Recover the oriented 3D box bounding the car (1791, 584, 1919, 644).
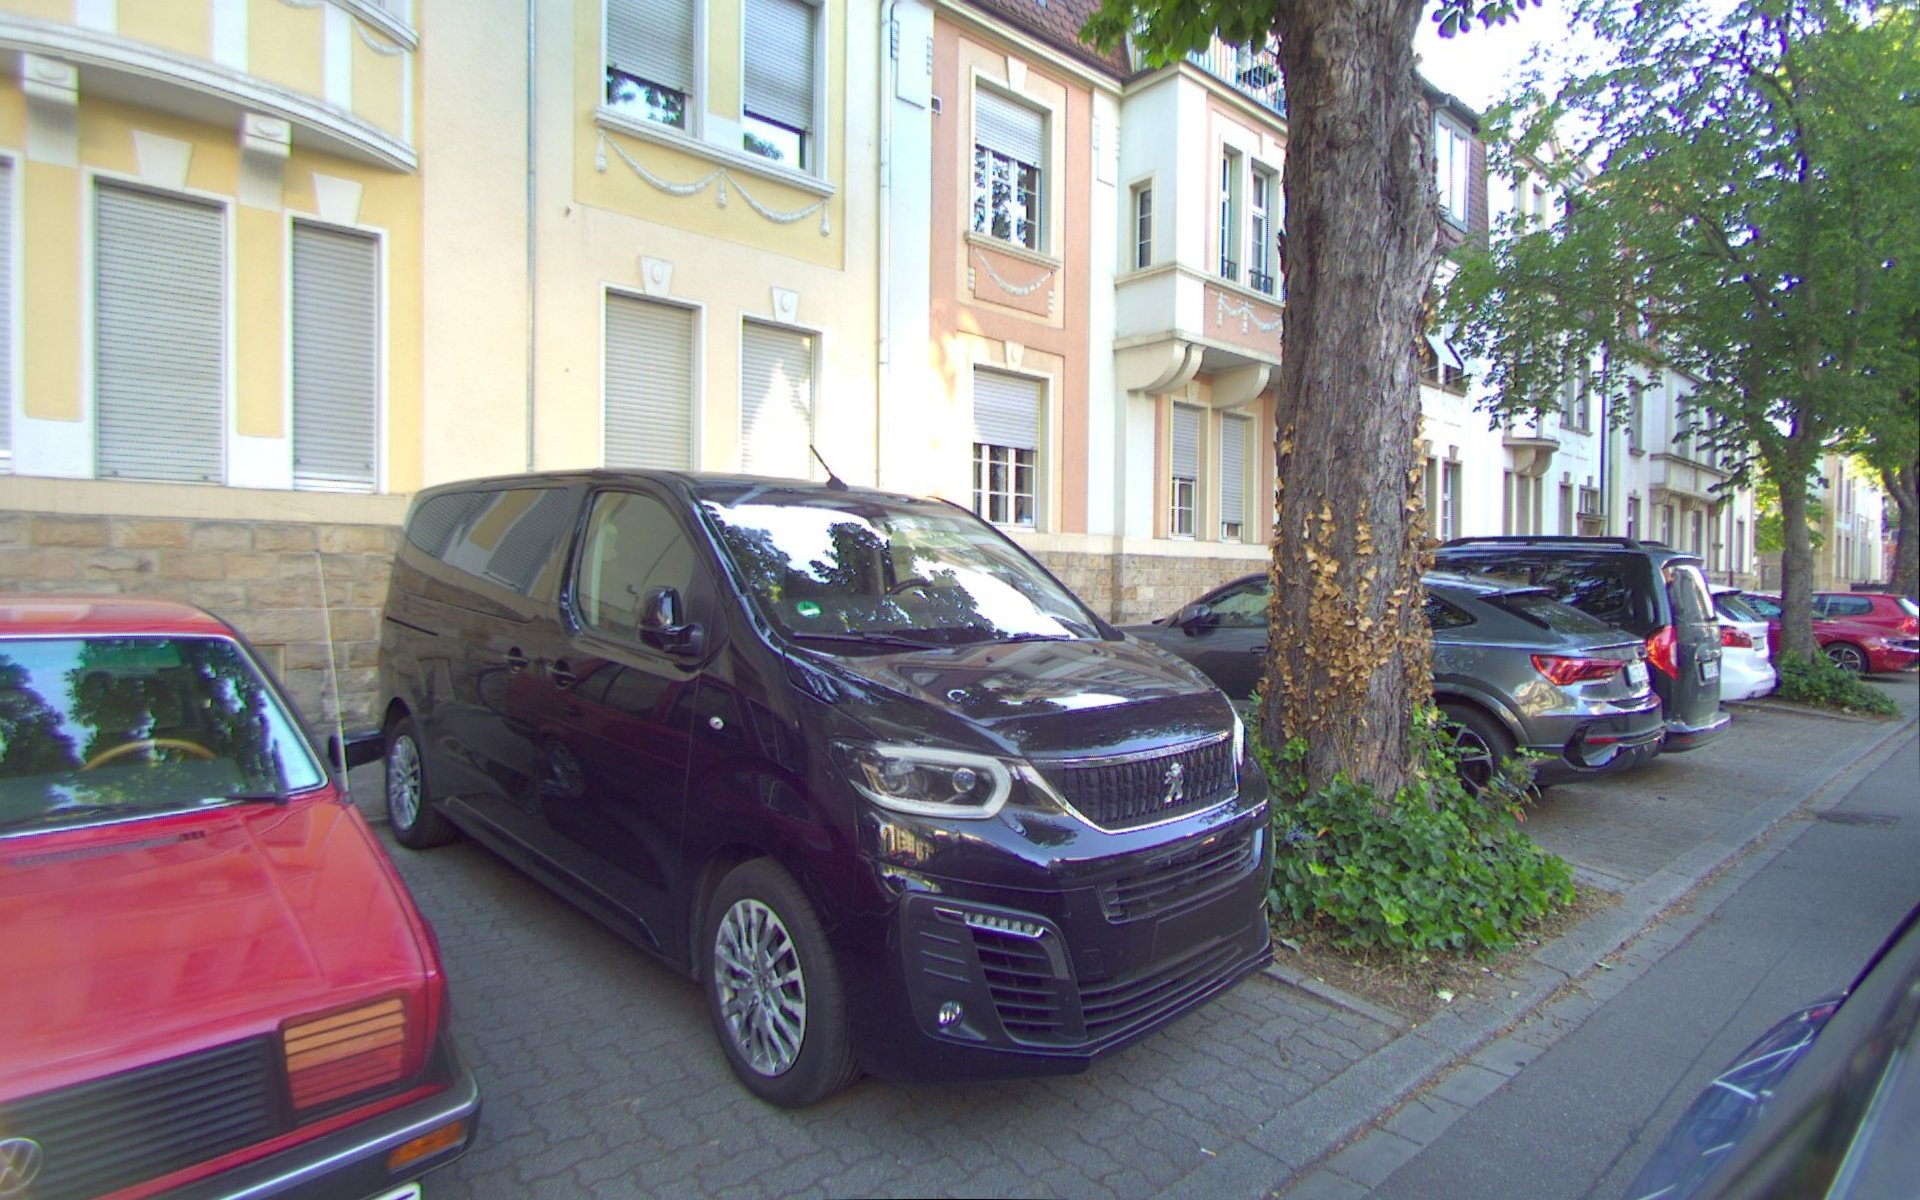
[{"bbox_3d":[23.947,0.343,26.133,1.511,1.420,3.621,0,2,-40],"label":"car"}]

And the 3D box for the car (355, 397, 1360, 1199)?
[{"bbox_3d":[-1.000,0.352,4.521,1.851,1.846,4.825,-1,4,-44],"label":"car"}]

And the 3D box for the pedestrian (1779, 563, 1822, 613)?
[{"bbox_3d":[35.188,-0.505,42.357,0.915,2.038,1.188,0,3,-41],"label":"pedestrian"}]

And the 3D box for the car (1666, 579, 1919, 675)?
[{"bbox_3d":[14.982,0.407,18.042,1.511,1.420,3.621,0,3,-40],"label":"car"}]

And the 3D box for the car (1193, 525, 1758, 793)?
[{"bbox_3d":[4.319,0.286,9.004,1.569,1.849,4.165,-1,4,-44],"label":"car"}]

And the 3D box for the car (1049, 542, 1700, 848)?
[{"bbox_3d":[2.770,0.415,7.515,1.569,1.611,4.165,-1,4,-44],"label":"car"}]

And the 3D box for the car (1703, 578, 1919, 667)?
[{"bbox_3d":[16.854,0.378,19.660,1.511,1.482,3.621,0,3,-40],"label":"car"}]

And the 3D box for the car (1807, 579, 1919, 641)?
[{"bbox_3d":[25.918,0.272,27.973,1.511,1.584,3.621,0,2,-40],"label":"car"}]

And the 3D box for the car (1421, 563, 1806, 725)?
[{"bbox_3d":[7.731,0.393,12.202,1.513,1.569,3.616,-1,3,-45],"label":"car"}]

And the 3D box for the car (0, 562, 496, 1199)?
[{"bbox_3d":[-2.819,0.610,2.965,1.532,1.336,3.917,-1,4,-43],"label":"car"}]

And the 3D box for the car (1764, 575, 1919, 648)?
[{"bbox_3d":[21.613,0.247,24.083,1.511,1.584,3.621,0,2,-40],"label":"car"}]
